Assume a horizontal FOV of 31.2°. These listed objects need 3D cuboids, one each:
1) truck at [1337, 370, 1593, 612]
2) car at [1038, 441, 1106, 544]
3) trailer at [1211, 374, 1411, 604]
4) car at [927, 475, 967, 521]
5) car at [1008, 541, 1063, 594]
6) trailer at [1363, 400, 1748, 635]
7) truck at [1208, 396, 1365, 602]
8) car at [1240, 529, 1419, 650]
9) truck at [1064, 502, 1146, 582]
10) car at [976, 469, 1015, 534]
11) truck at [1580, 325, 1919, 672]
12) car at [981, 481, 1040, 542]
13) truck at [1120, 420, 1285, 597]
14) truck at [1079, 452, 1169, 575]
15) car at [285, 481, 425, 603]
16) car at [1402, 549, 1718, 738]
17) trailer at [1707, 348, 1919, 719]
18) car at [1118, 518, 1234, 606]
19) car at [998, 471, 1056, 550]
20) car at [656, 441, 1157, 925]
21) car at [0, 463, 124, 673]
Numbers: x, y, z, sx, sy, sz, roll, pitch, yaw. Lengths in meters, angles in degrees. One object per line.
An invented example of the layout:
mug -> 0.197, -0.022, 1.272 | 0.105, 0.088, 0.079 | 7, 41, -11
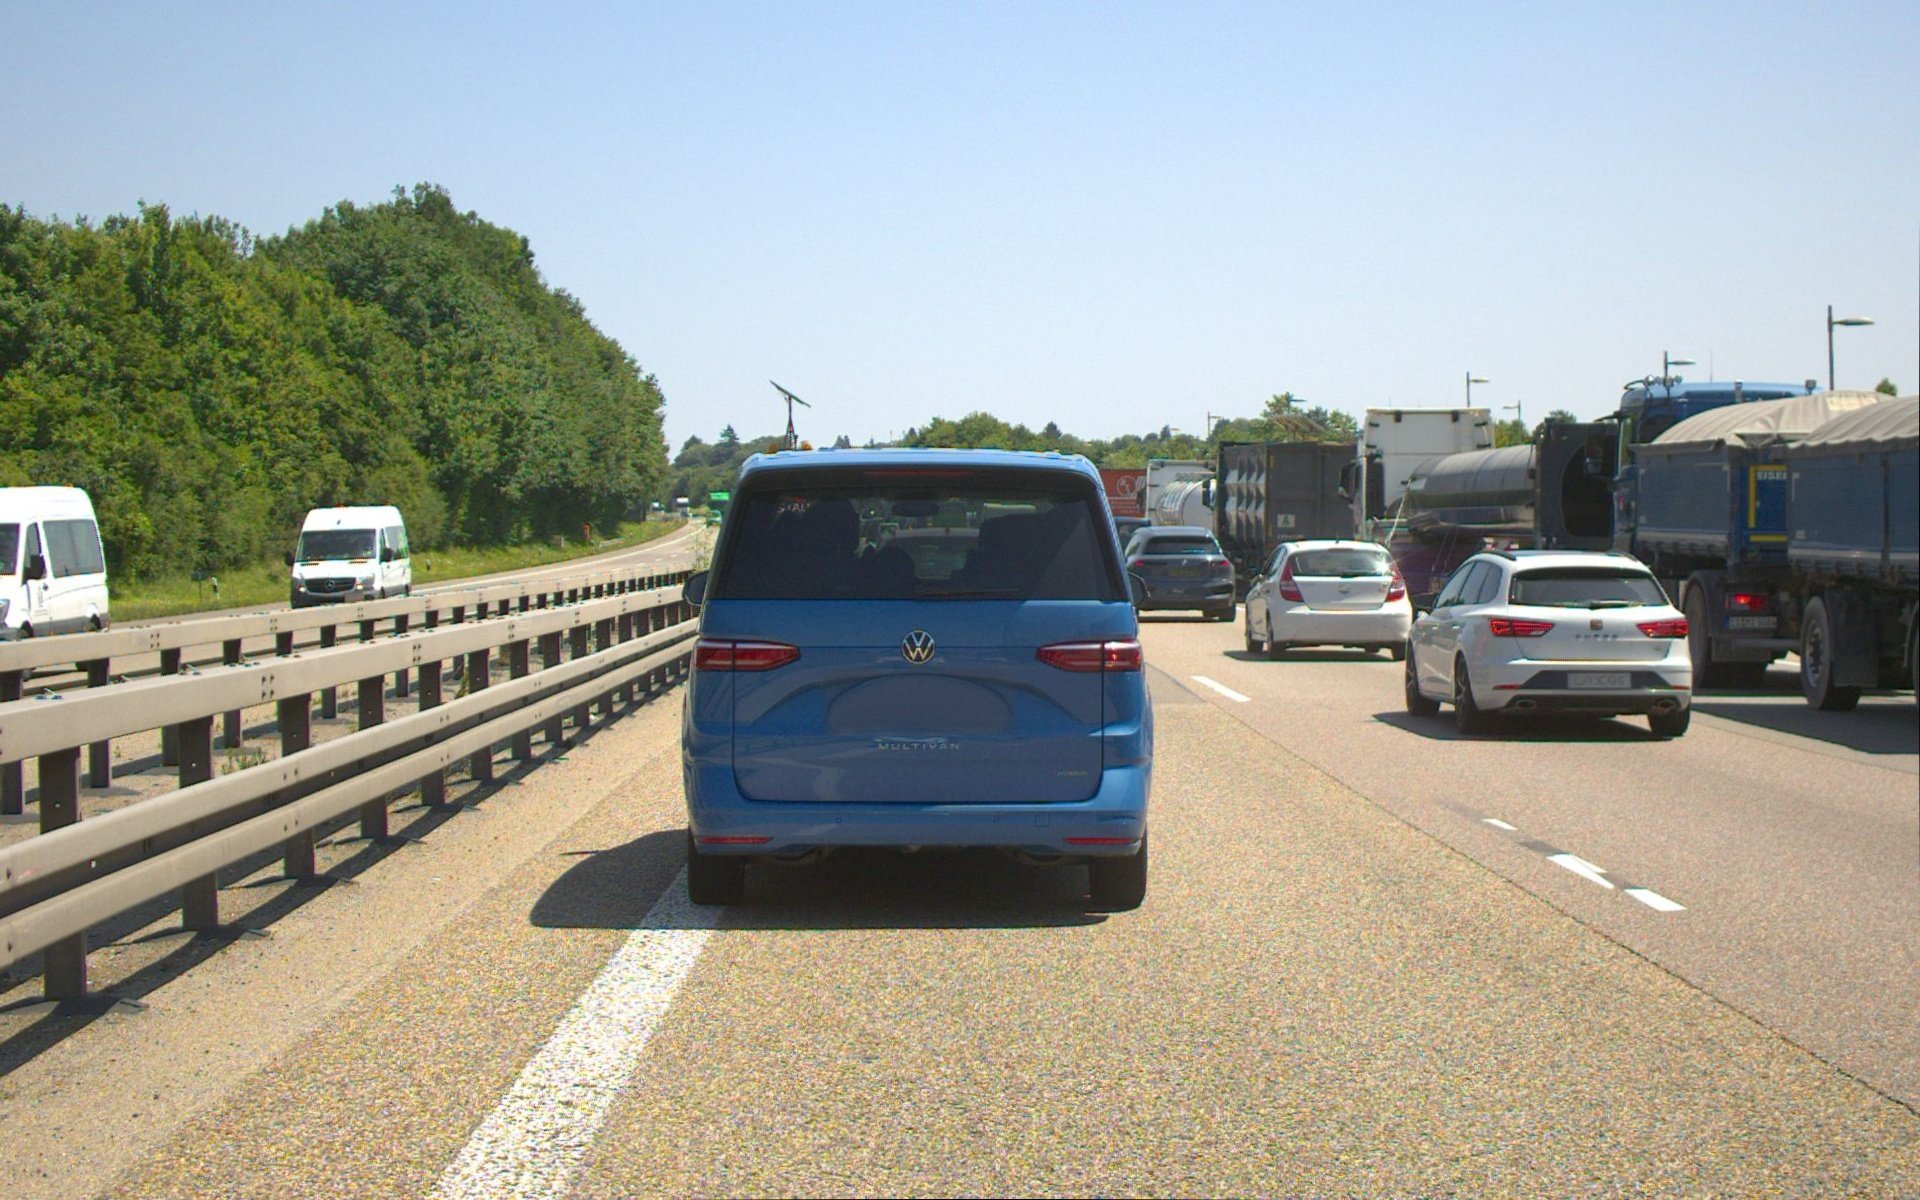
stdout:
truck -> 9.031, -1.890, 62.433 | 3.626, 4.080, 7.524 | 1, 0, 1
car -> 5.908, -5.623, 182.373 | 3.218, 5.239, 8.144 | 1, 0, 0
trailer -> 8.346, -2.545, 83.567 | 3.646, 5.118, 13.075 | 1, 0, 1
car -> -0.982, -7.526, 254.137 | 2.485, 3.193, 7.373 | 1, 0, -3
car -> 2.901, -1.256, 132.756 | 1.993, 2.007, 4.000 | 1, 0, -1
trailer -> 8.791, -1.157, 53.356 | 3.646, 3.068, 15.771 | 1, 0, 2
truck -> 8.475, -2.587, 90.005 | 3.659, 5.162, 5.708 | 1, 0, 2
car -> 4.646, -0.144, 43.710 | 1.840, 1.449, 4.000 | 1, 0, 0
truck -> 3.465, -1.373, 82.674 | 1.725, 1.851, 4.000 | 1, 0, -1
car -> 2.724, -7.555, 265.546 | 2.716, 4.697, 11.561 | 1, 0, -1
truck -> 8.635, -1.084, 36.521 | 2.743, 3.300, 7.133 | 1, 2, 0
car -> 2.328, -4.083, 160.082 | 2.550, 2.708, 5.621 | 1, 0, -1
truck -> 7.566, -2.776, 109.810 | 3.621, 5.195, 15.690 | 1, 0, -2
truck -> 6.777, -3.520, 143.604 | 3.068, 4.903, 10.691 | 1, 0, -1
car -> -13.587, -1.285, 77.543 | 2.156, 2.585, 5.891 | -1, 0, -1
car -> 4.699, 0.290, 27.462 | 1.867, 1.356, 4.000 | 1, 1, 1
trailer -> 8.692, -0.588, 28.974 | 2.743, 2.827, 9.116 | 1, 2, 0
car -> 3.858, -0.682, 61.886 | 1.781, 1.519, 4.000 | 1, 0, -1
car -> 4.556, -6.080, 235.876 | 3.218, 5.239, 8.145 | 1, 0, -4
car -> -0.172, 0.300, 15.171 | 1.901, 1.831, 4.000 | 1, 0, 1
car -> -13.050, -0.366, 46.339 | 2.052, 2.642, 5.839 | -4, 1, -1
